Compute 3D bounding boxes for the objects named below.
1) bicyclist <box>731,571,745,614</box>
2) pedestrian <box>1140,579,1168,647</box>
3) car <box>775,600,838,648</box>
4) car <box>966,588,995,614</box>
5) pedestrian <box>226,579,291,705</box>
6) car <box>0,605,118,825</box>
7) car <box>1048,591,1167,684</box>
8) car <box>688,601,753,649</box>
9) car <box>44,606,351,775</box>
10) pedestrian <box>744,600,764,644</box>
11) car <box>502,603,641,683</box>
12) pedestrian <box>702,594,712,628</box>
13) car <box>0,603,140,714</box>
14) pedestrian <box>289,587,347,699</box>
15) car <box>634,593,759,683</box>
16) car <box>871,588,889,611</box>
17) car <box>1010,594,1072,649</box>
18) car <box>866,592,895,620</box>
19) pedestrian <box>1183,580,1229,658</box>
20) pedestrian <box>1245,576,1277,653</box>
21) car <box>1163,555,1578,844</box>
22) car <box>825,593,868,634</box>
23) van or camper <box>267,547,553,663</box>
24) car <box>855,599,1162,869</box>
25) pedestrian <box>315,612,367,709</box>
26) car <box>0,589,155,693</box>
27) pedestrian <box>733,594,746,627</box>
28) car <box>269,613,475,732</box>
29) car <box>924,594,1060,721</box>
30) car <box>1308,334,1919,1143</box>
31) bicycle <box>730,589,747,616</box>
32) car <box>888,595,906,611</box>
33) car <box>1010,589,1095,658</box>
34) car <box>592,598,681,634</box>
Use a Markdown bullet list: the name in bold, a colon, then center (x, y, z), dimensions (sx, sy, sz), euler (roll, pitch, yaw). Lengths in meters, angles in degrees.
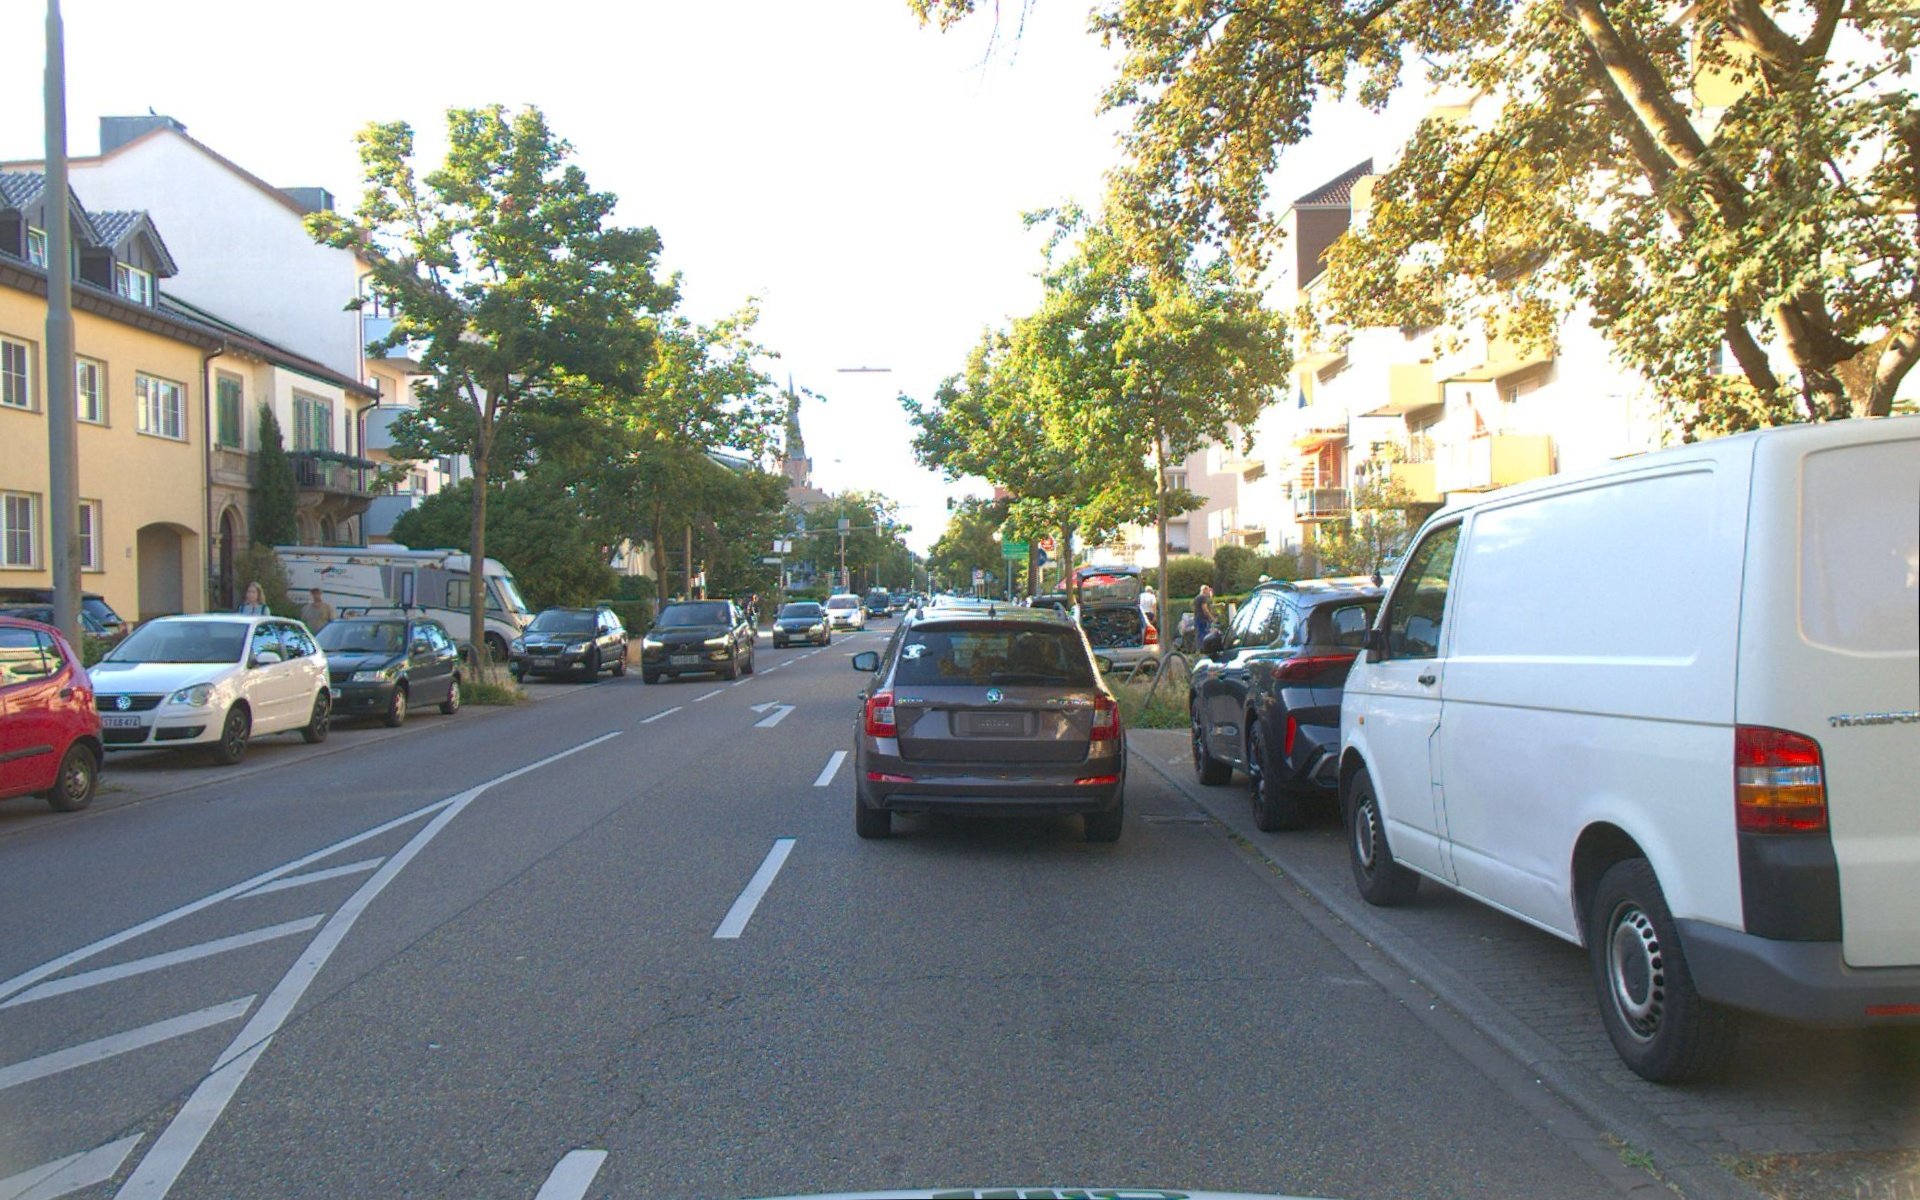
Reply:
- **bicyclist**: center (-8.884, -0.311, 66.268), dimensions (0.459, 1.692, 0.552), euler (-1, 0, -2)
- **pedestrian**: center (5.258, 0.350, 44.841), dimensions (0.649, 1.779, 0.772), euler (-3, 0, 3)
- **car**: center (-5.238, 0.789, 56.895), dimensions (1.725, 1.477, 4.533), euler (-3, 0, -1)
- **car**: center (1.511, 0.063, 117.969), dimensions (1.952, 1.803, 4.001), euler (1, 0, 2)
- **pedestrian**: center (-10.310, 0.614, 24.335), dimensions (0.699, 1.824, 0.506), euler (-1, 0, 2)
- **car**: center (-7.595, 0.836, 11.556), dimensions (1.560, 1.550, 3.437), euler (-1, 0, 2)
- **car**: center (2.656, 0.635, 30.574), dimensions (1.674, 1.506, 4.267), euler (-3, 0, -1)
- **car**: center (-8.052, 0.830, 55.808), dimensions (1.615, 1.544, 4.073), euler (0, 0, -1)
- **car**: center (-7.975, 0.869, 17.689), dimensions (1.561, 1.550, 3.889), euler (-1, 0, -2)
- **pedestrian**: center (-9.558, 1.012, 76.744), dimensions (0.764, 2.022, 0.821), euler (-1, 0, 0)
- **car**: center (-7.970, 0.847, 34.341), dimensions (1.829, 1.521, 4.516), euler (1, 0, -1)
- **pedestrian**: center (-14.122, 0.611, 92.313), dimensions (0.440, 1.828, 0.504), euler (-1, 0, 0)
- **car**: center (-13.377, 0.796, 23.385), dimensions (1.630, 1.433, 3.753), euler (-2, 0, 1)
- **pedestrian**: center (-10.646, 0.710, 27.436), dimensions (0.699, 1.824, 0.572), euler (-1, 0, 2)
- **car**: center (-5.209, 0.731, 33.156), dimensions (1.798, 1.597, 4.000), euler (-3, 0, 0)
- **car**: center (-9.206, -0.076, 190.569), dimensions (1.953, 2.521, 3.999), euler (-1, 0, -1)
- **car**: center (2.341, 0.596, 48.578), dimensions (1.668, 1.475, 4.014), euler (-3, 0, 1)
- **car**: center (-6.049, 0.439, 125.806), dimensions (1.953, 1.942, 4.963), euler (-3, 0, -1)
- **pedestrian**: center (5.348, 0.413, 35.956), dimensions (0.742, 1.668, 0.693), euler (-1, 0, 36)
- **pedestrian**: center (6.686, 0.317, 36.694), dimensions (0.467, 1.668, 0.533), euler (-1, 0, -20)
- **car**: center (2.749, 0.595, 12.148), dimensions (1.818, 1.631, 4.310), euler (-4, 0, -1)
- **car**: center (-5.479, 0.651, 80.107), dimensions (1.769, 1.836, 4.744), euler (-3, 0, -1)
- **van or camper**: center (-14.338, 0.131, 43.469), dimensions (6.660, 2.821, 2.351), euler (1, 0, -2)
- **car**: center (0.236, 0.757, 11.522), dimensions (1.737, 1.515, 4.310), euler (0, 0, -1)
- **pedestrian**: center (-9.928, 0.962, 26.544), dimensions (0.577, 1.522, 0.542), euler (-1, 0, 2)
- **car**: center (-16.157, 0.661, 28.218), dimensions (3.905, 1.664, 1.866), euler (1, 0, 0)
- **pedestrian**: center (-12.385, 0.585, 92.943), dimensions (0.603, 1.828, 0.504), euler (-1, 0, 0)
- **car**: center (-7.871, 0.917, 22.460), dimensions (1.511, 1.421, 3.665), euler (-1, 0, -1)
- **car**: center (0.413, 0.730, 23.081), dimensions (1.701, 1.598, 4.000), euler (1, 0, 0)
- **car**: center (2.939, 0.350, 6.752), dimensions (1.865, 2.140, 4.638), euler (-1, 0, -2)
- **bicycle**: center (-8.876, 0.102, 66.289), dimensions (0.476, 1.083, 1.534), euler (-1, 0, -1)
- **car**: center (-6.568, 0.344, 172.940), dimensions (1.793, 1.607, 3.999), euler (-1, 0, -1)
- **car**: center (2.344, 0.582, 42.768), dimensions (1.818, 1.609, 4.012), euler (-3, 0, -1)
- **car**: center (-17.844, 0.875, 91.370), dimensions (4.540, 1.843, 1.861), euler (-1, 0, -1)
